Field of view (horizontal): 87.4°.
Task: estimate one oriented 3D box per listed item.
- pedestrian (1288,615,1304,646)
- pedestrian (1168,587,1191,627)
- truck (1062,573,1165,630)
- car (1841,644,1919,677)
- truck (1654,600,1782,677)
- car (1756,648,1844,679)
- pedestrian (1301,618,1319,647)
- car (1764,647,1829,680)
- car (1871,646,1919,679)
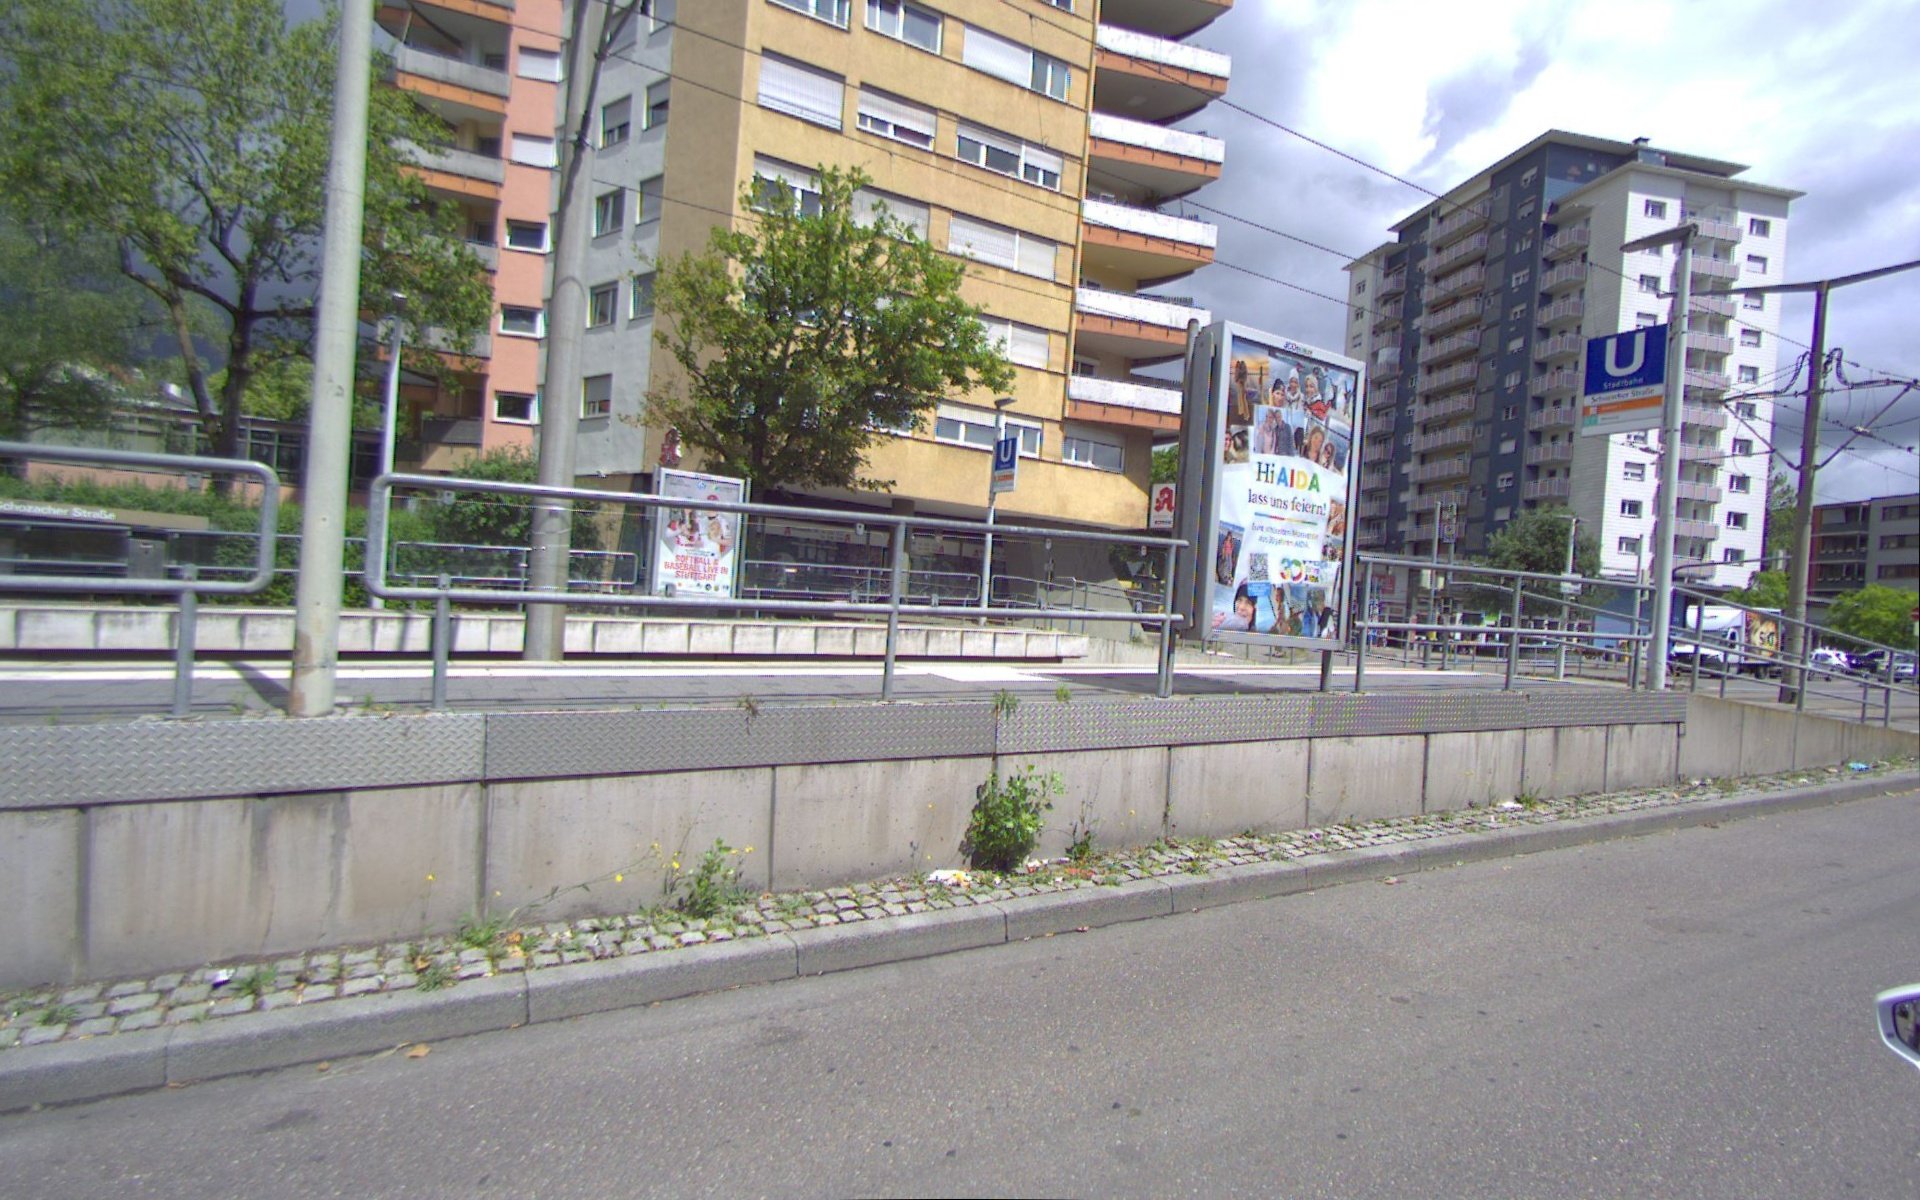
[{"bbox_3d":[18.609,1.675,55.628,0.708,1.693,0.365,3,0,-27],"label":"pedestrian"},{"bbox_3d":[9.958,0.310,45.590,0.655,1.799,0.653,2,0,-31],"label":"pedestrian"},{"bbox_3d":[6.741,0.028,44.431,2.323,2.320,4.260,3,0,-29],"label":"truck"},{"bbox_3d":[62.595,4.090,68.113,3.846,2.001,1.657,2,0,18],"label":"car"},{"bbox_3d":[33.729,1.728,44.592,7.244,3.159,2.267,3,0,-34],"label":"truck"},{"bbox_3d":[52.764,3.947,63.129,3.845,1.669,1.657,2,0,15],"label":"car"},{"bbox_3d":[18.281,1.683,52.460,0.658,1.487,0.554,2,0,-38],"label":"pedestrian"},{"bbox_3d":[41.880,3.178,50.272,3.733,1.480,1.399,3,0,-32],"label":"car"},{"bbox_3d":[54.599,3.631,58.228,3.732,1.780,1.583,3,0,-31],"label":"car"}]
